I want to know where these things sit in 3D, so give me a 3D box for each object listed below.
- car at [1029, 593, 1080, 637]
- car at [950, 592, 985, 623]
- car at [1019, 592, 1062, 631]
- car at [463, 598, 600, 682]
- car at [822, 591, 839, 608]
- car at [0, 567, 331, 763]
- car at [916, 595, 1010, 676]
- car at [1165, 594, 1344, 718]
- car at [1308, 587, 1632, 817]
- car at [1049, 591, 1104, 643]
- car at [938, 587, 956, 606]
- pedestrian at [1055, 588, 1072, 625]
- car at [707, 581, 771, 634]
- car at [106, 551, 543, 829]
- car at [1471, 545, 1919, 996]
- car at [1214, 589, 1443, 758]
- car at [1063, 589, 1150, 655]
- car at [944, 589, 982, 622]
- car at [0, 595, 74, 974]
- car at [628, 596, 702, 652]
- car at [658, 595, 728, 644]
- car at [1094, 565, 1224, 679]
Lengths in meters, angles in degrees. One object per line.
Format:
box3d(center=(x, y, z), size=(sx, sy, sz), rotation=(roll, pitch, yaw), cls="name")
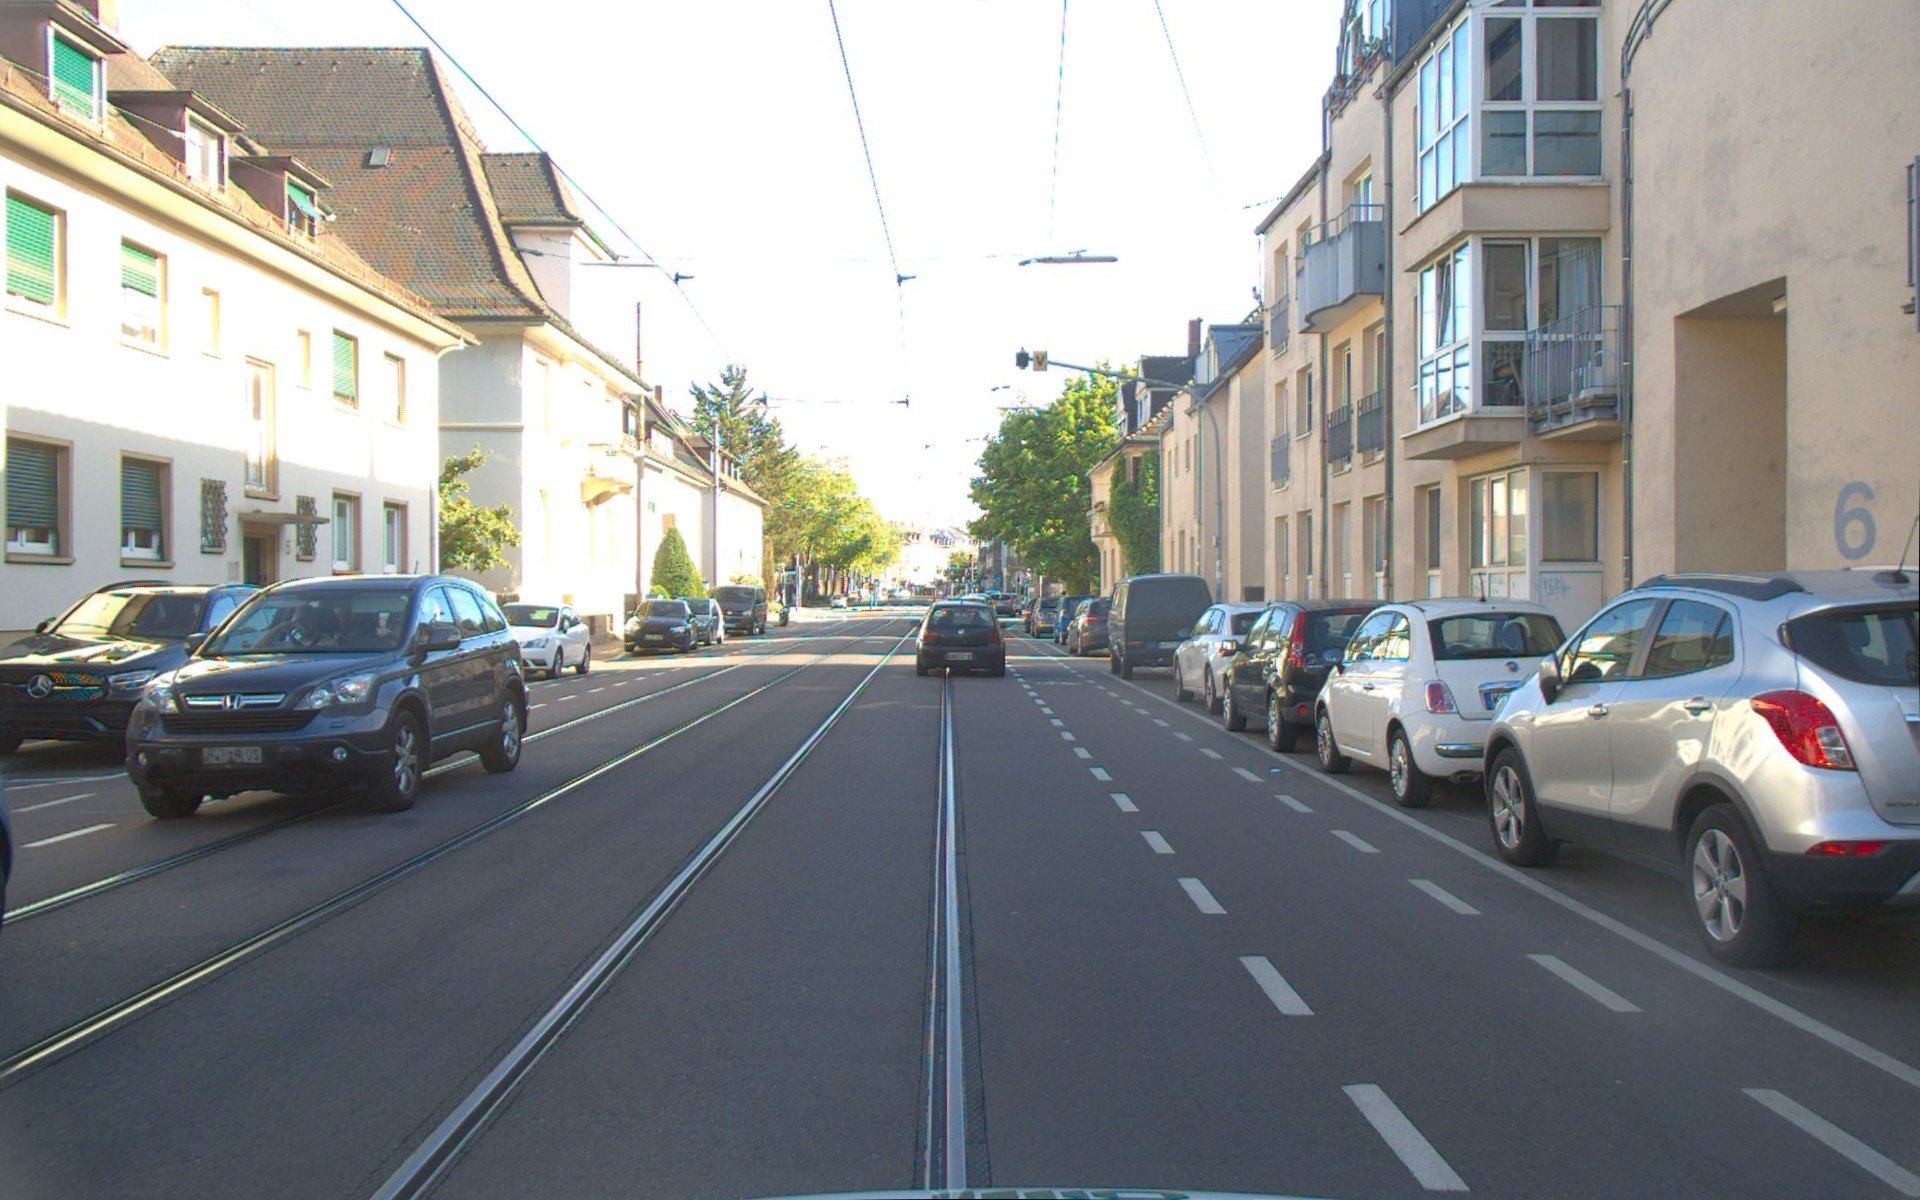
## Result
box3d(center=(3.540, 0.538, 62.371), size=(1.569, 1.552, 3.548), rotation=(1, 0, -2), cls="car")
box3d(center=(0.349, 0.362, 81.546), size=(1.704, 1.466, 3.809), rotation=(0, 0, 0), cls="car")
box3d(center=(3.426, 0.470, 71.071), size=(1.632, 1.591, 3.770), rotation=(1, 0, 0), cls="car")
box3d(center=(-8.276, 0.728, 32.263), size=(1.598, 1.483, 4.015), rotation=(-2, 0, 0), cls="car")
box3d(center=(-12.442, -0.059, 158.855), size=(1.545, 1.503, 3.436), rotation=(-1, 0, -6), cls="car")
box3d(center=(-8.279, 0.590, 17.274), size=(1.726, 1.734, 4.554), rotation=(-2, 0, -1), cls="car")
box3d(center=(0.044, 0.648, 32.271), size=(1.681, 1.427, 4.006), rotation=(1, 0, 0), cls="car")
box3d(center=(4.001, 0.709, 23.081), size=(1.643, 1.517, 4.171), rotation=(1, 0, -1), cls="car")
box3d(center=(3.937, 0.708, 13.293), size=(1.466, 1.584, 3.364), rotation=(1, 0, -1), cls="car")
box3d(center=(3.776, 0.533, 53.965), size=(1.428, 1.627, 3.292), rotation=(1, 0, -2), cls="car")
box3d(center=(-1.411, -0.361, 176.622), size=(1.751, 1.892, 3.998), rotation=(2, 0, -2), cls="car")
box3d(center=(4.830, 0.296, 77.149), size=(0.703, 1.717, 0.870), rotation=(-1, 0, -2), cls="pedestrian")
box3d(center=(-9.014, 0.293, 67.807), size=(1.867, 2.049, 4.949), rotation=(1, 0, 1), cls="car")
box3d(center=(-4.615, 0.571, 12.759), size=(1.669, 1.734, 4.363), rotation=(-2, 0, 0), cls="car")
box3d(center=(4.045, 0.659, 8.377), size=(1.570, 1.729, 3.988), rotation=(1, 0, -1), cls="car")
box3d(center=(3.815, 0.696, 17.671), size=(1.522, 1.584, 3.651), rotation=(1, 0, -1), cls="car")
box3d(center=(3.856, 0.549, 44.170), size=(1.709, 1.627, 4.432), rotation=(1, 0, -2), cls="car")
box3d(center=(0.135, 0.241, 72.681), size=(1.601, 1.396, 3.757), rotation=(0, 0, 0), cls="car")
box3d(center=(-4.567, 0.750, 4.983), size=(1.584, 1.486, 4.075), rotation=(-2, 0, 0), cls="car")
box3d(center=(-8.359, 0.643, 47.149), size=(1.630, 1.503, 4.247), rotation=(0, 0, -4), cls="car")
box3d(center=(-8.648, 0.612, 53.820), size=(1.642, 1.503, 3.835), rotation=(1, 0, 0), cls="car")
box3d(center=(3.804, 0.388, 32.373), size=(1.867, 2.022, 4.562), rotation=(1, 0, -1), cls="car")
